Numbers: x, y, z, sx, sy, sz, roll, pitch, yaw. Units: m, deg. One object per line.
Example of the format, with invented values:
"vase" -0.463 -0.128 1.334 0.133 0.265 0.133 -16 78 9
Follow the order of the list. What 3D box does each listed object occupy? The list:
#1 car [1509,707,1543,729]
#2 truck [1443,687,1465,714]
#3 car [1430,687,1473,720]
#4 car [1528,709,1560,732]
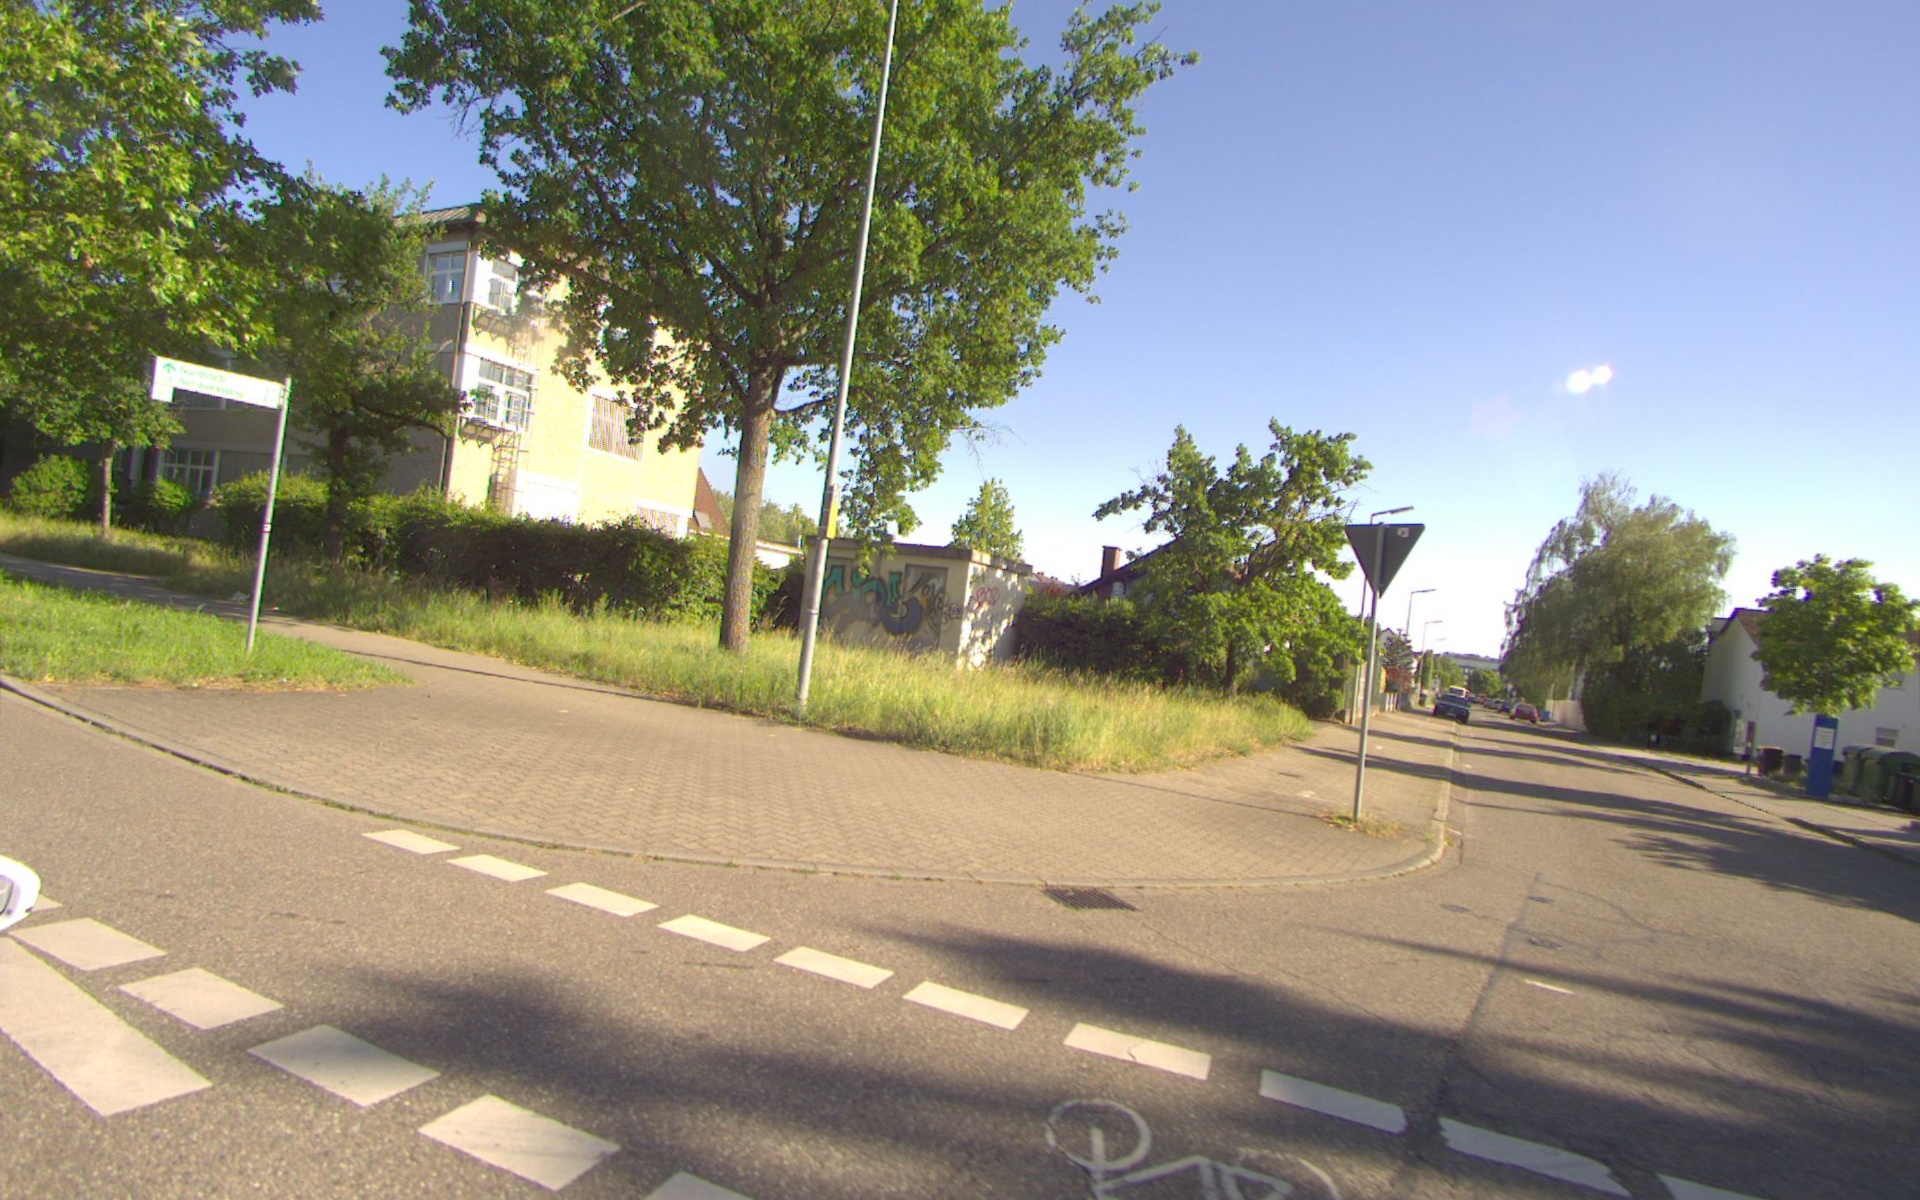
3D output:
"car" 47.170 9.823 83.911 1.964 1.557 4.002 7 -3 24
"truck" 58.973 12.034 120.125 1.965 2.938 5.868 7 -3 26
"car" 28.713 6.070 58.895 1.964 1.557 4.002 7 -3 24
"car" 55.140 11.396 95.037 1.964 1.815 4.002 7 -3 24
